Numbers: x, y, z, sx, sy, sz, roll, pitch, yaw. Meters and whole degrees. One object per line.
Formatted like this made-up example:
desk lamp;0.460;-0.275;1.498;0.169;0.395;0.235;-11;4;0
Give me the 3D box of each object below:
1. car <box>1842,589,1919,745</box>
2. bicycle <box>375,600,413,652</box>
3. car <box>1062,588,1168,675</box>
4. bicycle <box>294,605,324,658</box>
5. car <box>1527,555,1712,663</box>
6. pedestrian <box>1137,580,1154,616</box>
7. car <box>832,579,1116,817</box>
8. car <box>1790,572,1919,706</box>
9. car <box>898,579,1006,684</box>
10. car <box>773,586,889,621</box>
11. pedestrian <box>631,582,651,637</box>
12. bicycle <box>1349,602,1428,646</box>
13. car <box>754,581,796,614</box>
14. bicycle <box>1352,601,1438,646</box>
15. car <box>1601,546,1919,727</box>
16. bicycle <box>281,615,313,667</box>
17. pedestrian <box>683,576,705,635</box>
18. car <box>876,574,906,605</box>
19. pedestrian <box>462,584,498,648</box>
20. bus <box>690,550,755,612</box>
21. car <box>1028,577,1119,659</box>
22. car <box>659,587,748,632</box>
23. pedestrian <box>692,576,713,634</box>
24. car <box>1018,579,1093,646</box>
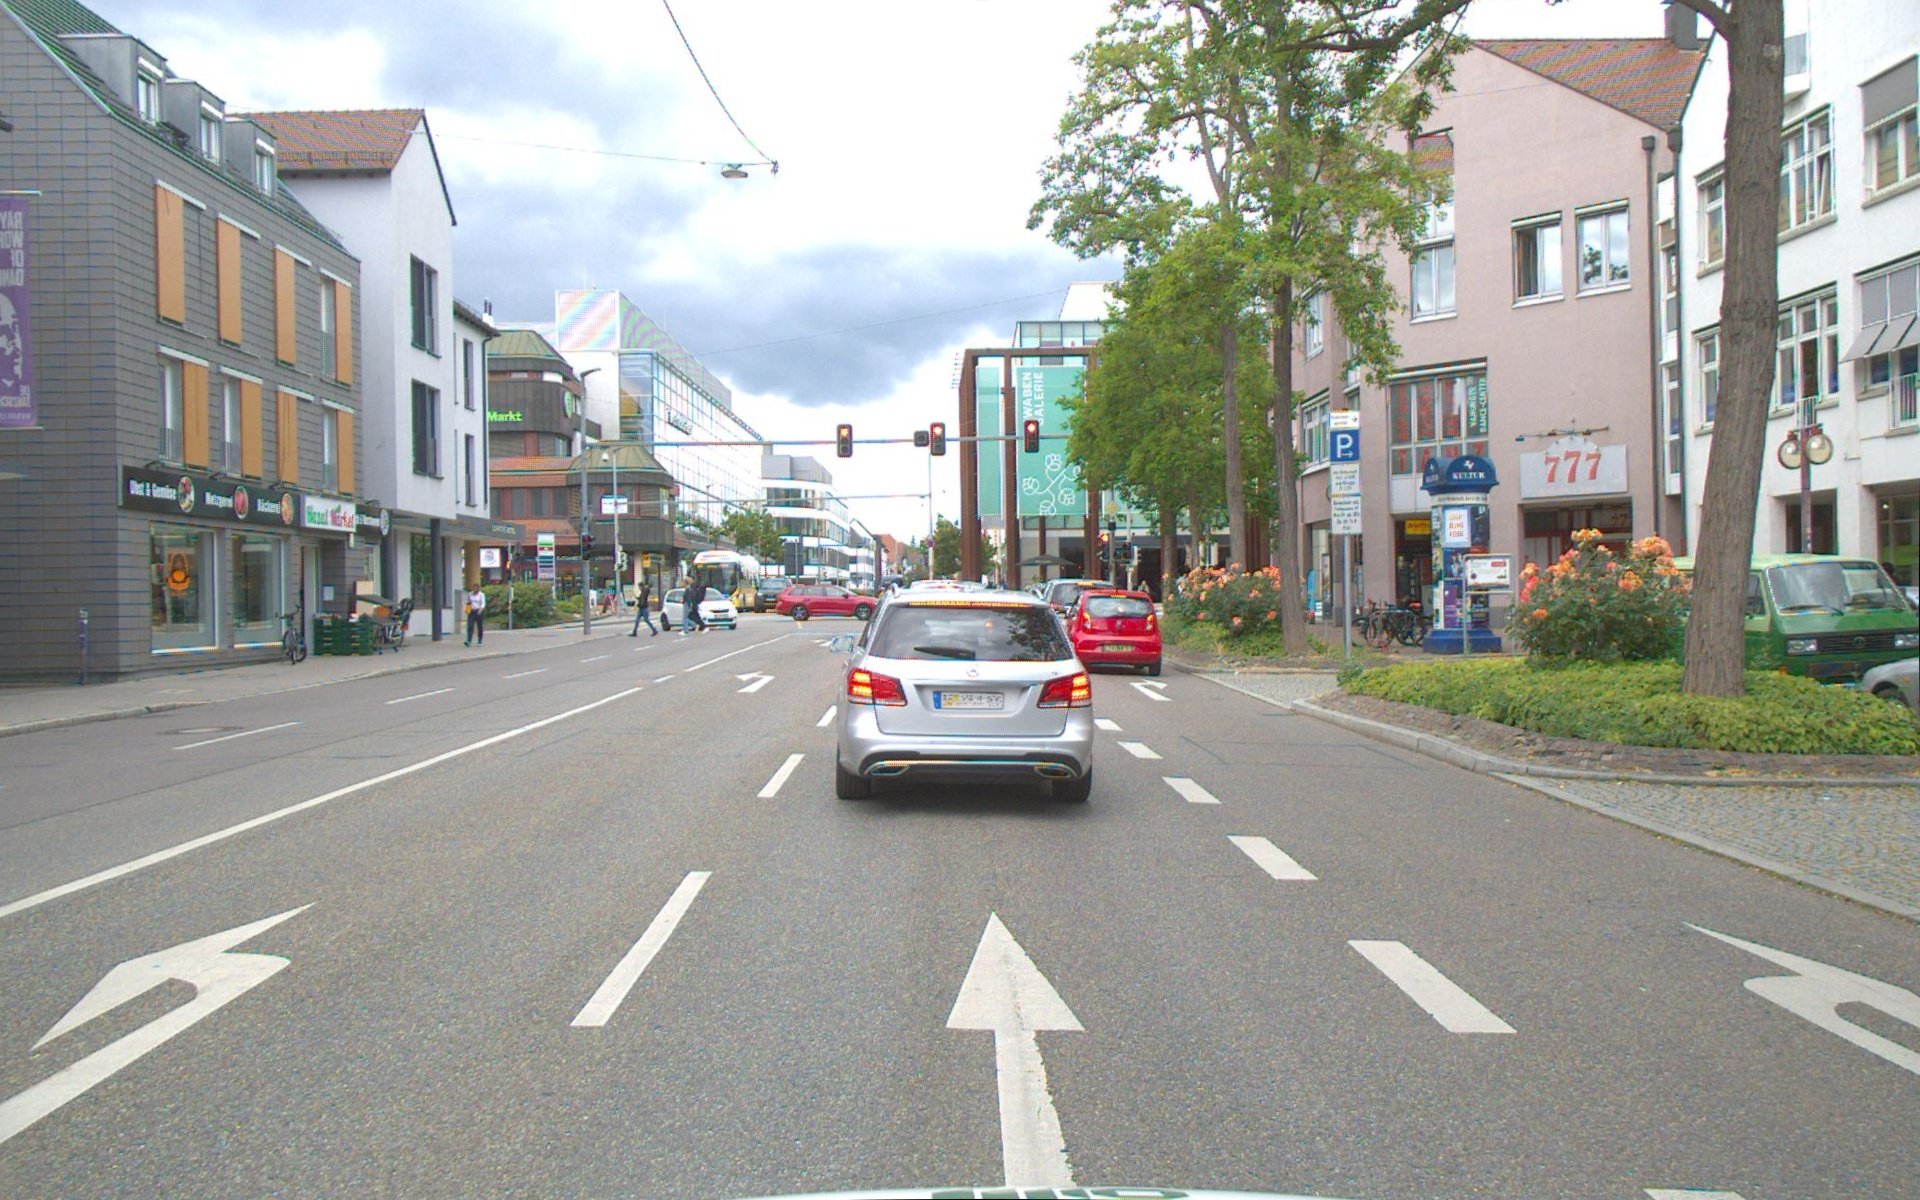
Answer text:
car;10.095;0.643;14.948;1.727;1.476;4.417;-1;0;-3
bicycle;-13.592;0.614;39.751;0.378;1.207;1.825;-1;0;-4
car;2.782;0.525;30.259;1.554;1.468;3.348;1;0;-1
bicycle;-14.522;0.689;36.901;0.379;1.147;1.287;-1;0;-11
car;12.335;0.133;31.195;1.605;1.863;3.963;-1;1;-5
pedestrian;8.851;-0.104;78.977;0.641;1.679;0.557;-1;0;-15
car;0.072;0.618;12.733;1.778;1.474;4.369;1;0;-1
car;12.358;0.455;20.487;1.760;1.569;4.392;-2;1;-3
car;-0.143;0.460;26.547;1.606;1.554;3.393;1;0;-1
car;-5.320;0.120;68.633;4.618;1.393;1.964;0;0;0
pedestrian;-9.875;0.286;51.200;0.548;1.679;0.651;-1;0;-15
bicycle;10.060;0.562;38.834;1.731;1.014;0.447;-1;0;3
car;-10.119;-0.157;90.671;1.953;1.735;4.063;0;0;-2
bicycle;10.057;0.545;38.287;1.861;1.014;0.468;-1;0;3
car;9.757;0.371;20.209;1.843;1.909;4.603;-2;0;-3
bicycle;-13.180;0.802;32.902;0.320;0.970;1.479;-1;0;-11
pedestrian;-8.264;0.166;51.327;0.635;1.821;0.682;-1;0;-12
car;-4.636;-0.710;111.612;1.953;1.983;4.949;0;0;-2
pedestrian;-12.531;0.403;43.170;0.713;1.638;0.753;-1;0;-1
bus;-13.303;-1.072;93.349;2.632;3.318;8.650;0;0;-2
car;2.448;0.352;36.328;1.555;1.662;3.915;1;0;-2
car;-8.987;0.338;57.851;1.564;1.514;3.414;-2;1;-39
pedestrian;-8.153;0.150;52.380;0.633;1.806;0.569;-1;0;-12
car;2.426;0.302;42.787;1.555;1.623;3.866;1;0;-2
